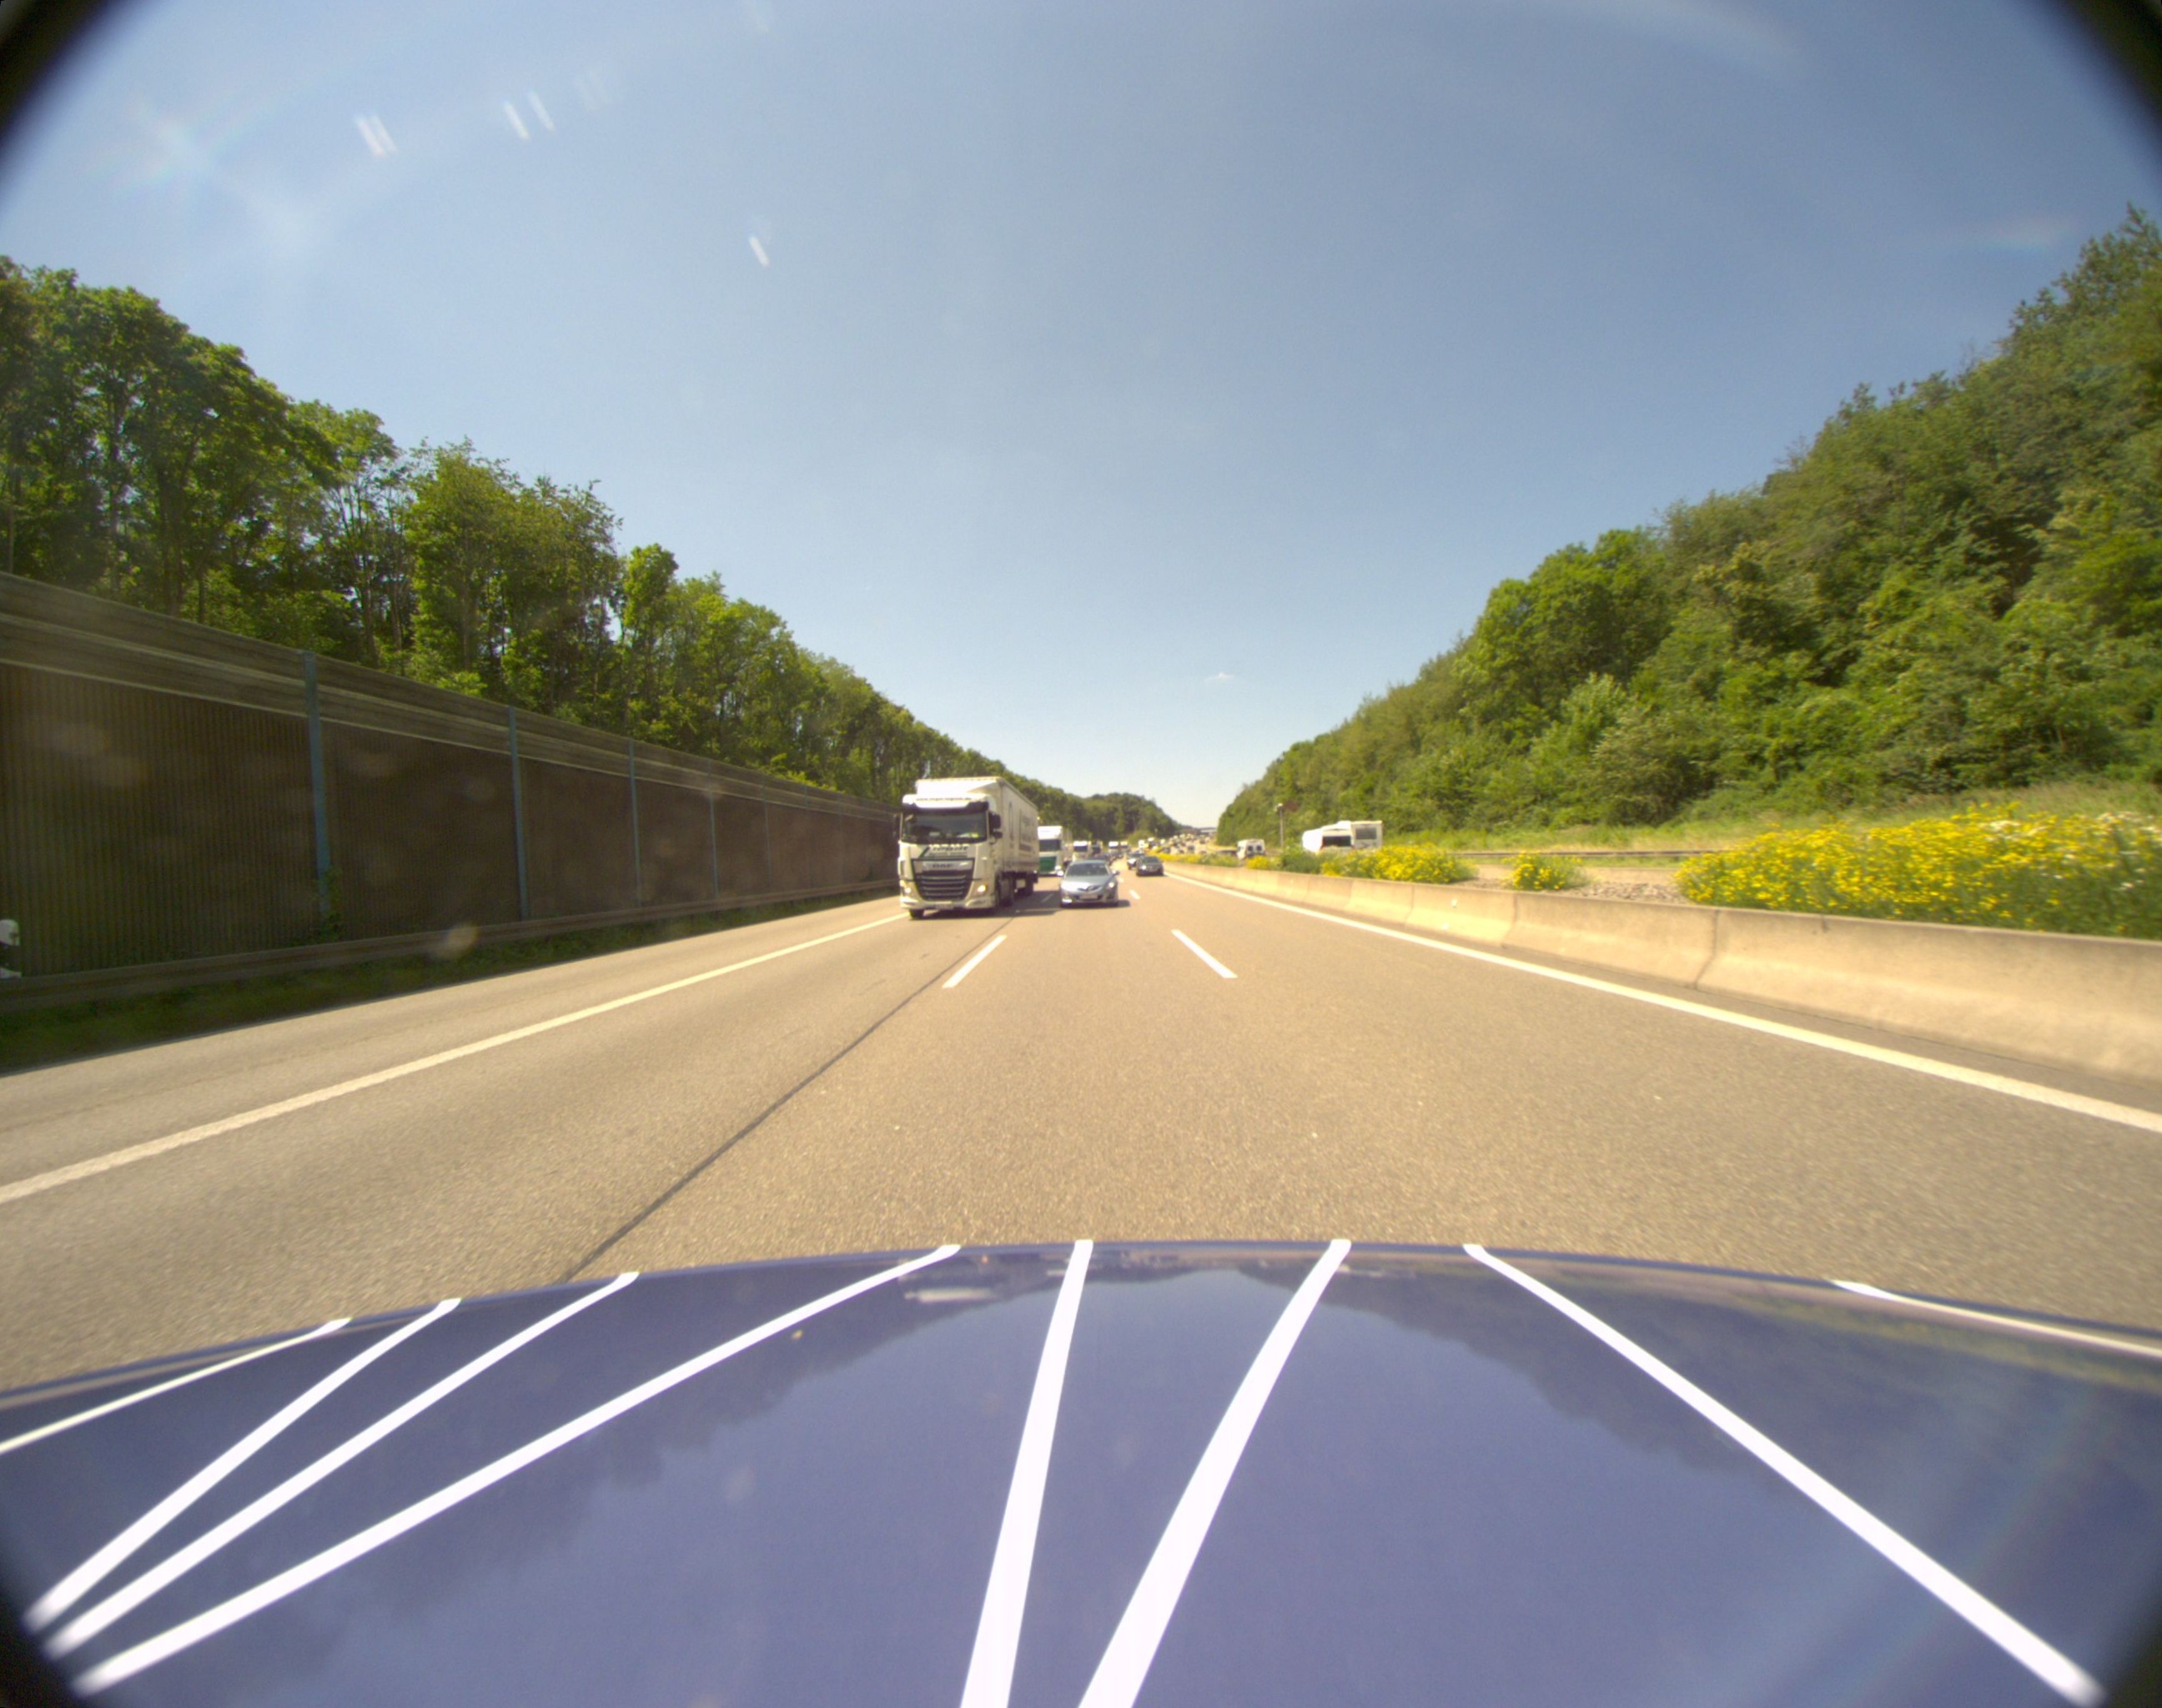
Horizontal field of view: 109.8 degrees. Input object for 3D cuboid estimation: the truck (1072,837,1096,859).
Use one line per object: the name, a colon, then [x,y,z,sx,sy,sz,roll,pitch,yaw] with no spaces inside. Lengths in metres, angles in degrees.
truck: [0.562,-0.960,122.046,3.262,3.337,6.864,-2,1,5]

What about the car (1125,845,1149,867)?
car: [5.551,0.129,75.152,1.998,2.002,3.999,-2,1,0]

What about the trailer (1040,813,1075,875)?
trailer: [-2.016,-0.962,70.090,2.574,5.012,15.267,-2,1,0]

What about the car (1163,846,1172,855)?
car: [20.988,-0.804,184.802,1.998,2.002,4.000,-2,1,4]

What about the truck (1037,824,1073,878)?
truck: [-2.016,-0.295,61.431,2.542,4.006,6.623,-2,2,1]

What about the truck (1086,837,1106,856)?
truck: [3.027,-1.565,154.197,3.557,3.695,7.551,-2,1,4]

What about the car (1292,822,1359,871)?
car: [14.878,-0.420,46.569,2.206,2.725,5.746,-2,0,0]

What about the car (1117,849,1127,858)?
car: [9.073,-0.134,168.420,1.997,1.728,4.001,-2,1,7]

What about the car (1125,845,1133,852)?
car: [14.321,-1.654,225.918,1.997,1.728,4.001,-2,1,6]

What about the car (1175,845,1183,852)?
car: [27.634,-1.580,214.965,1.998,2.002,4.568,-2,1,4]

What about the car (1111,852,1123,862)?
car: [6.976,0.484,145.513,1.998,1.728,4.001,-2,1,6]

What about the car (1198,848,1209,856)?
car: [26.119,-0.404,162.034,1.792,1.448,3.999,-2,1,2]

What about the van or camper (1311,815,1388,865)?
van or camper: [19.620,-1.063,56.248,2.546,3.299,9.000,-2,1,1]

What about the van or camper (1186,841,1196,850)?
van or camper: [32.496,-2.484,224.189,2.191,2.546,6.932,-2,1,3]

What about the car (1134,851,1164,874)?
car: [4.765,0.585,53.551,1.720,1.470,3.999,-2,0,0]

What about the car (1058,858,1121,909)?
car: [0.260,0.921,25.607,1.887,1.459,4.247,-2,0,0]

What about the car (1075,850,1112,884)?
car: [0.718,0.669,41.505,1.887,1.696,4.084,-2,0,2]

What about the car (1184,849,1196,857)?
car: [21.408,-0.186,149.277,1.998,1.577,4.273,-2,0,2]

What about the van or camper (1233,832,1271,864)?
van or camper: [16.923,-0.586,75.510,2.263,2.882,6.557,-2,0,1]

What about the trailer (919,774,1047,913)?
trailer: [-3.336,-0.312,30.202,2.792,4.180,13.244,-2,0,2]

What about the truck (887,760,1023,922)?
truck: [-3.567,-0.333,23.051,2.792,4.180,5.870,-2,0,2]

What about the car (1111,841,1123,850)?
car: [10.652,-2.590,224.967,2.696,2.468,6.586,-2,1,8]

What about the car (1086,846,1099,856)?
car: [2.028,-0.588,133.640,1.923,1.652,3.827,-2,1,5]

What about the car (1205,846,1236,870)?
car: [12.017,0.329,65.598,1.998,1.914,4.000,-2,0,2]

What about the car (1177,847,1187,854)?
car: [24.203,-0.839,182.382,1.998,1.581,4.162,-2,1,2]
